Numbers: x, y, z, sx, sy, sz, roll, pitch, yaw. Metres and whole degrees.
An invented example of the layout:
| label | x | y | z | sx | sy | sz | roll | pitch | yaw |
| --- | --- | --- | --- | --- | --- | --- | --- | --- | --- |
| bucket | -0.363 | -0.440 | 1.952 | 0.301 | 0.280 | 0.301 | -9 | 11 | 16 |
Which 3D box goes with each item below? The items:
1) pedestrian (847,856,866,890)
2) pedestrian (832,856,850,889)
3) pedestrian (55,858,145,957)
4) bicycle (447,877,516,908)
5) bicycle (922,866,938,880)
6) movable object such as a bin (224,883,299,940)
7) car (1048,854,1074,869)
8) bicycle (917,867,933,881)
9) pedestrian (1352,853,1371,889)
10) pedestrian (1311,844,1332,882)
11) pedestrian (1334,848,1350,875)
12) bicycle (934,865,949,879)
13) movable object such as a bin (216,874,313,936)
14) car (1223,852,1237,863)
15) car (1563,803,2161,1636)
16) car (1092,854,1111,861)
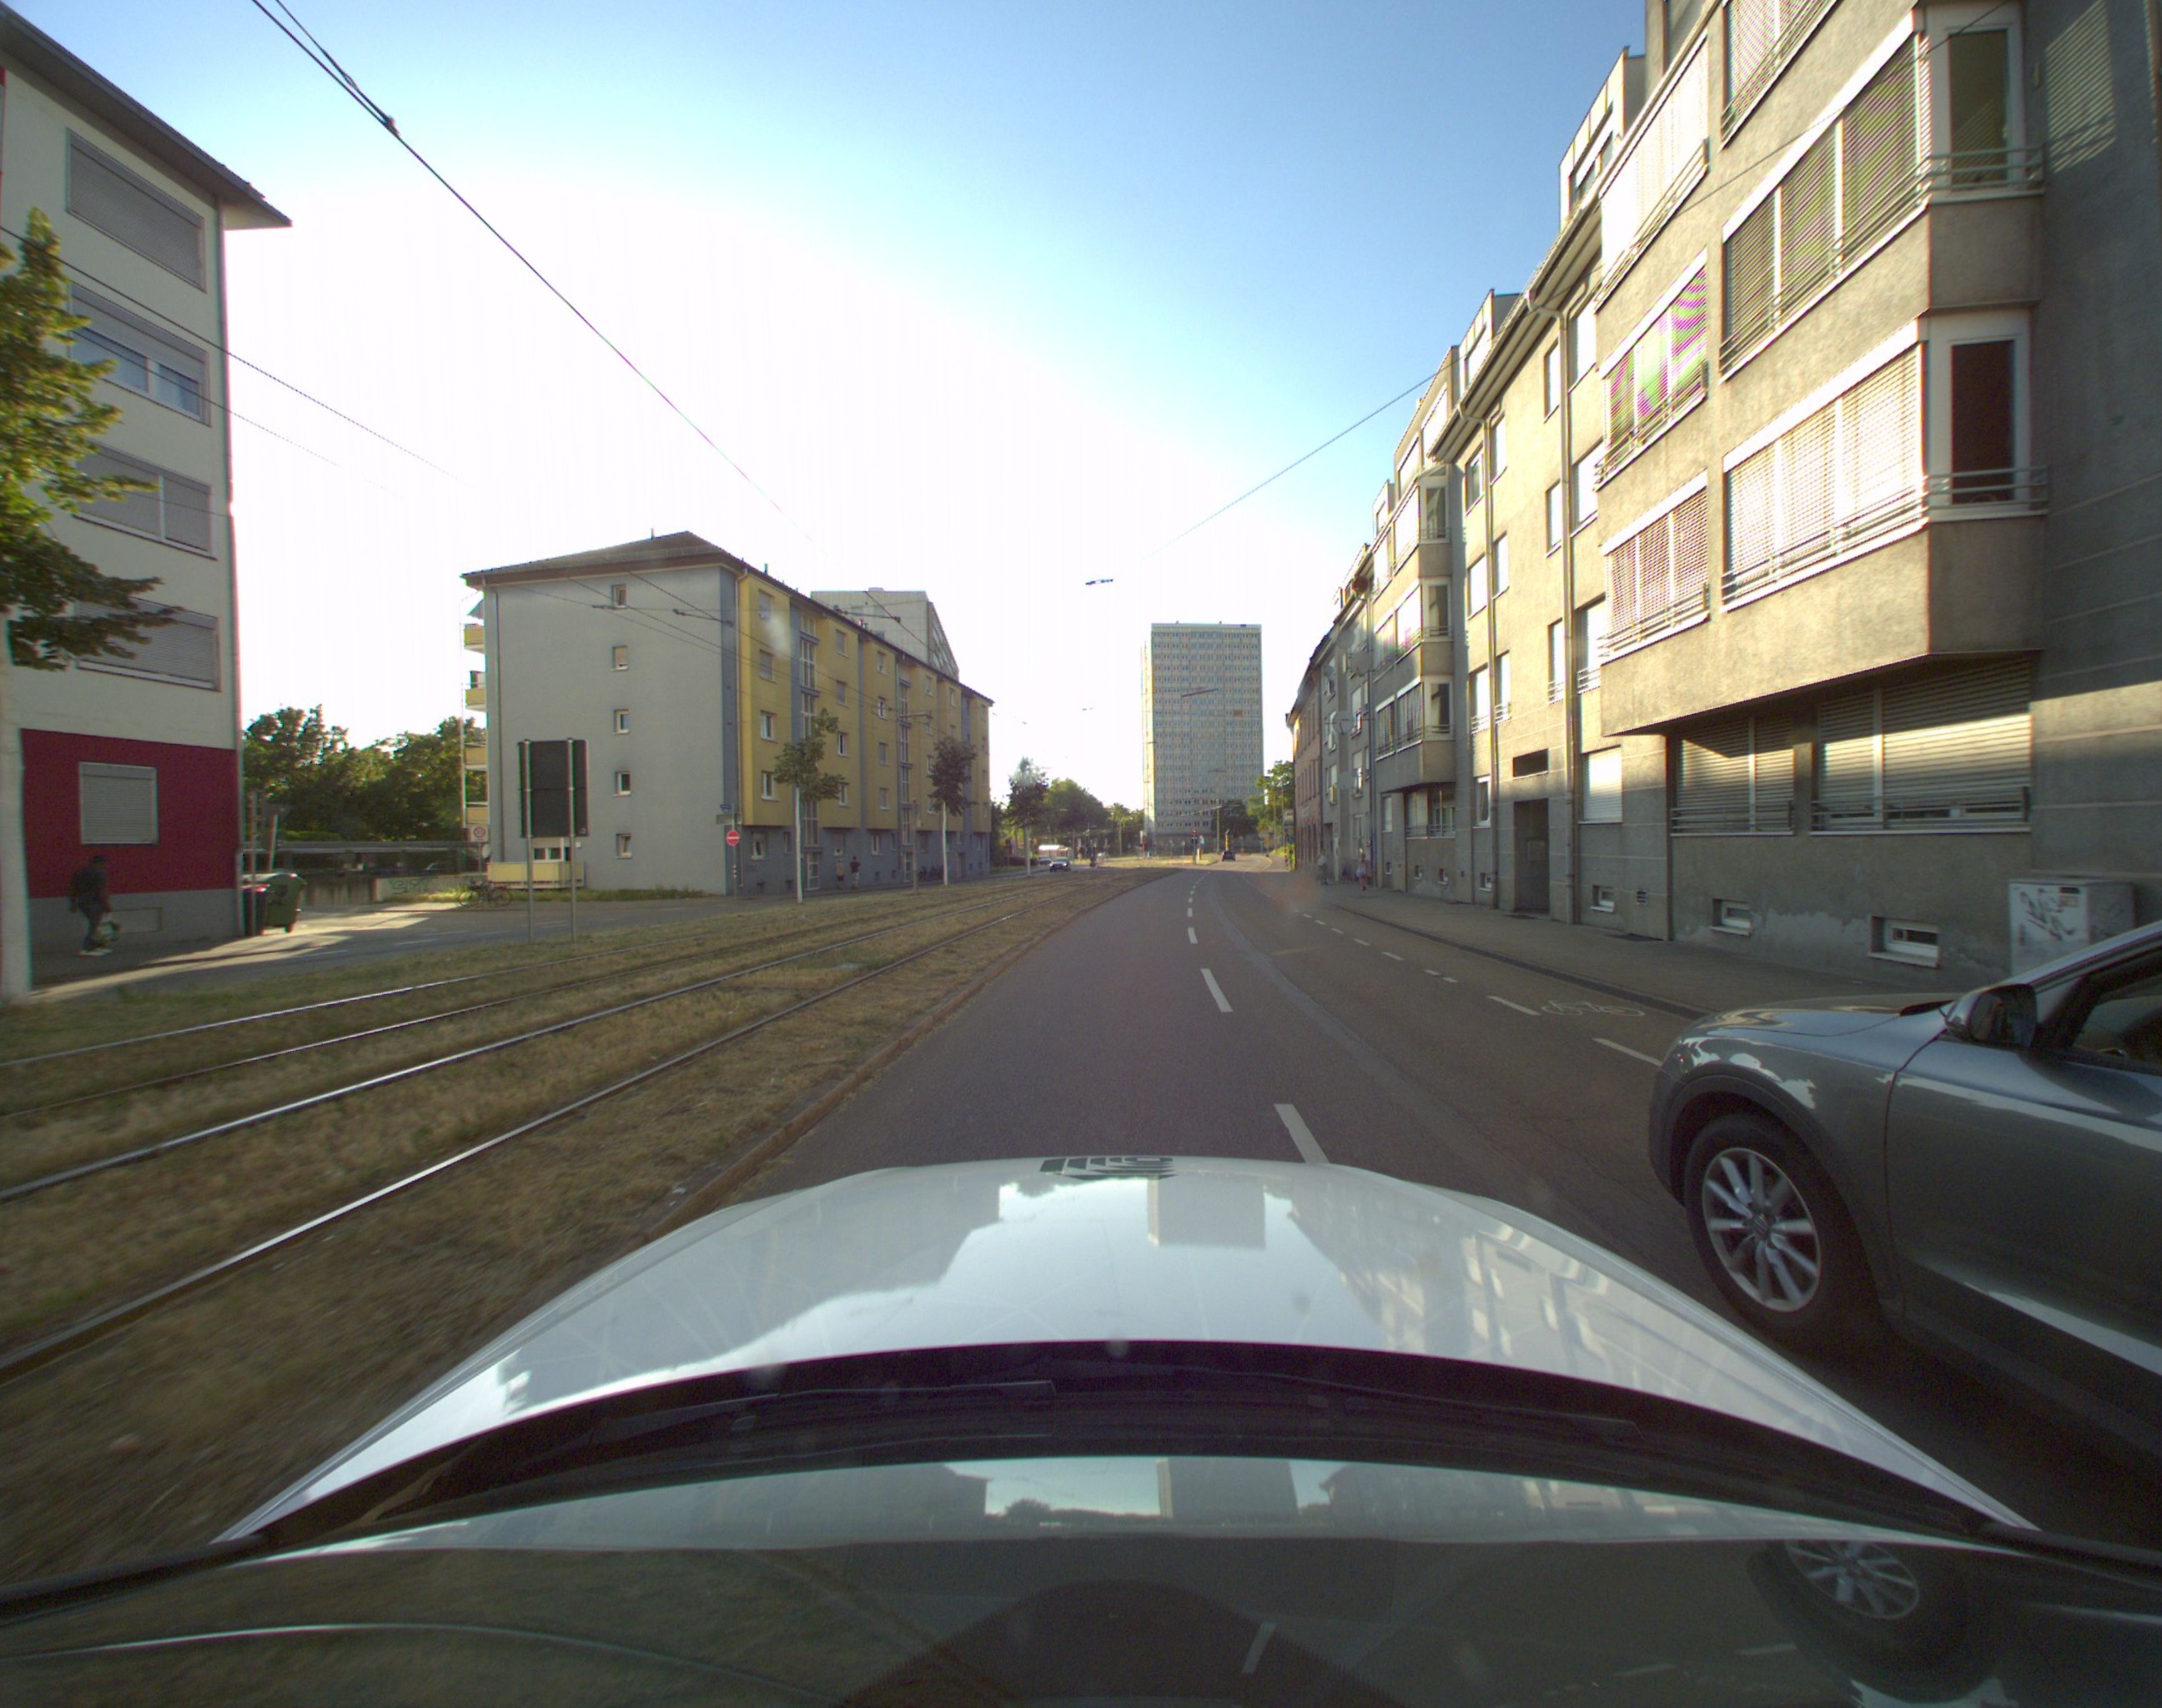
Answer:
| label | x | y | z | sx | sy | sz | roll | pitch | yaw |
| --- | --- | --- | --- | --- | --- | --- | --- | --- | --- |
| pedestrian | -12.236 | 1.029 | 44.480 | 0.589 | 1.773 | 0.888 | 3 | 1 | 9 |
| pedestrian | -13.032 | 1.001 | 44.207 | 0.613 | 1.694 | 0.708 | 3 | 1 | 9 |
| pedestrian | -17.443 | 0.930 | 14.492 | 0.610 | 1.689 | 0.792 | -1 | 0 | 4 |
| bicycle | -22.007 | 1.403 | 29.925 | 1.953 | 1.076 | 0.602 | -1 | 0 | -8 |
| bicycle | -10.776 | 1.376 | 58.010 | 0.424 | 0.925 | 1.917 | 2 | 1 | 11 |
| movable object such as a bin | -18.524 | 1.296 | 18.428 | 0.862 | 1.226 | 0.807 | -1 | 0 | 5 |
| car | -2.065 | 0.805 | 85.450 | 1.783 | 1.469 | 4.807 | -3 | -1 | 8 |
| bicycle | -10.861 | 1.395 | 56.731 | 0.424 | 0.925 | 1.917 | 2 | 1 | 11 |
| pedestrian | 10.489 | 0.634 | 30.489 | 0.511 | 1.344 | 0.610 | -2 | -1 | 5 |
| pedestrian | 11.352 | 0.417 | 38.474 | 0.825 | 1.771 | 0.998 | -2 | 0 | 9 |
| pedestrian | 12.262 | 0.363 | 38.261 | 0.584 | 1.251 | 0.586 | -2 | 0 | 9 |
| bicycle | -10.340 | 1.305 | 60.359 | 0.424 | 0.960 | 1.917 | -1 | 0 | 11 |
| movable object such as a bin | -19.907 | 1.220 | 19.894 | 1.211 | 1.416 | 1.140 | -1 | 0 | 5 |
| car | 20.222 | 0.459 | 110.550 | 1.761 | 1.422 | 3.868 | -2 | 0 | 11 |
| car | 2.923 | 0.679 | 1.468 | 1.760 | 1.587 | 4.069 | -1 | 1 | 1 |
| car | 4.807 | 0.843 | 191.503 | 3.949 | 1.530 | 2.012 | -1 | 0 | 43 |
